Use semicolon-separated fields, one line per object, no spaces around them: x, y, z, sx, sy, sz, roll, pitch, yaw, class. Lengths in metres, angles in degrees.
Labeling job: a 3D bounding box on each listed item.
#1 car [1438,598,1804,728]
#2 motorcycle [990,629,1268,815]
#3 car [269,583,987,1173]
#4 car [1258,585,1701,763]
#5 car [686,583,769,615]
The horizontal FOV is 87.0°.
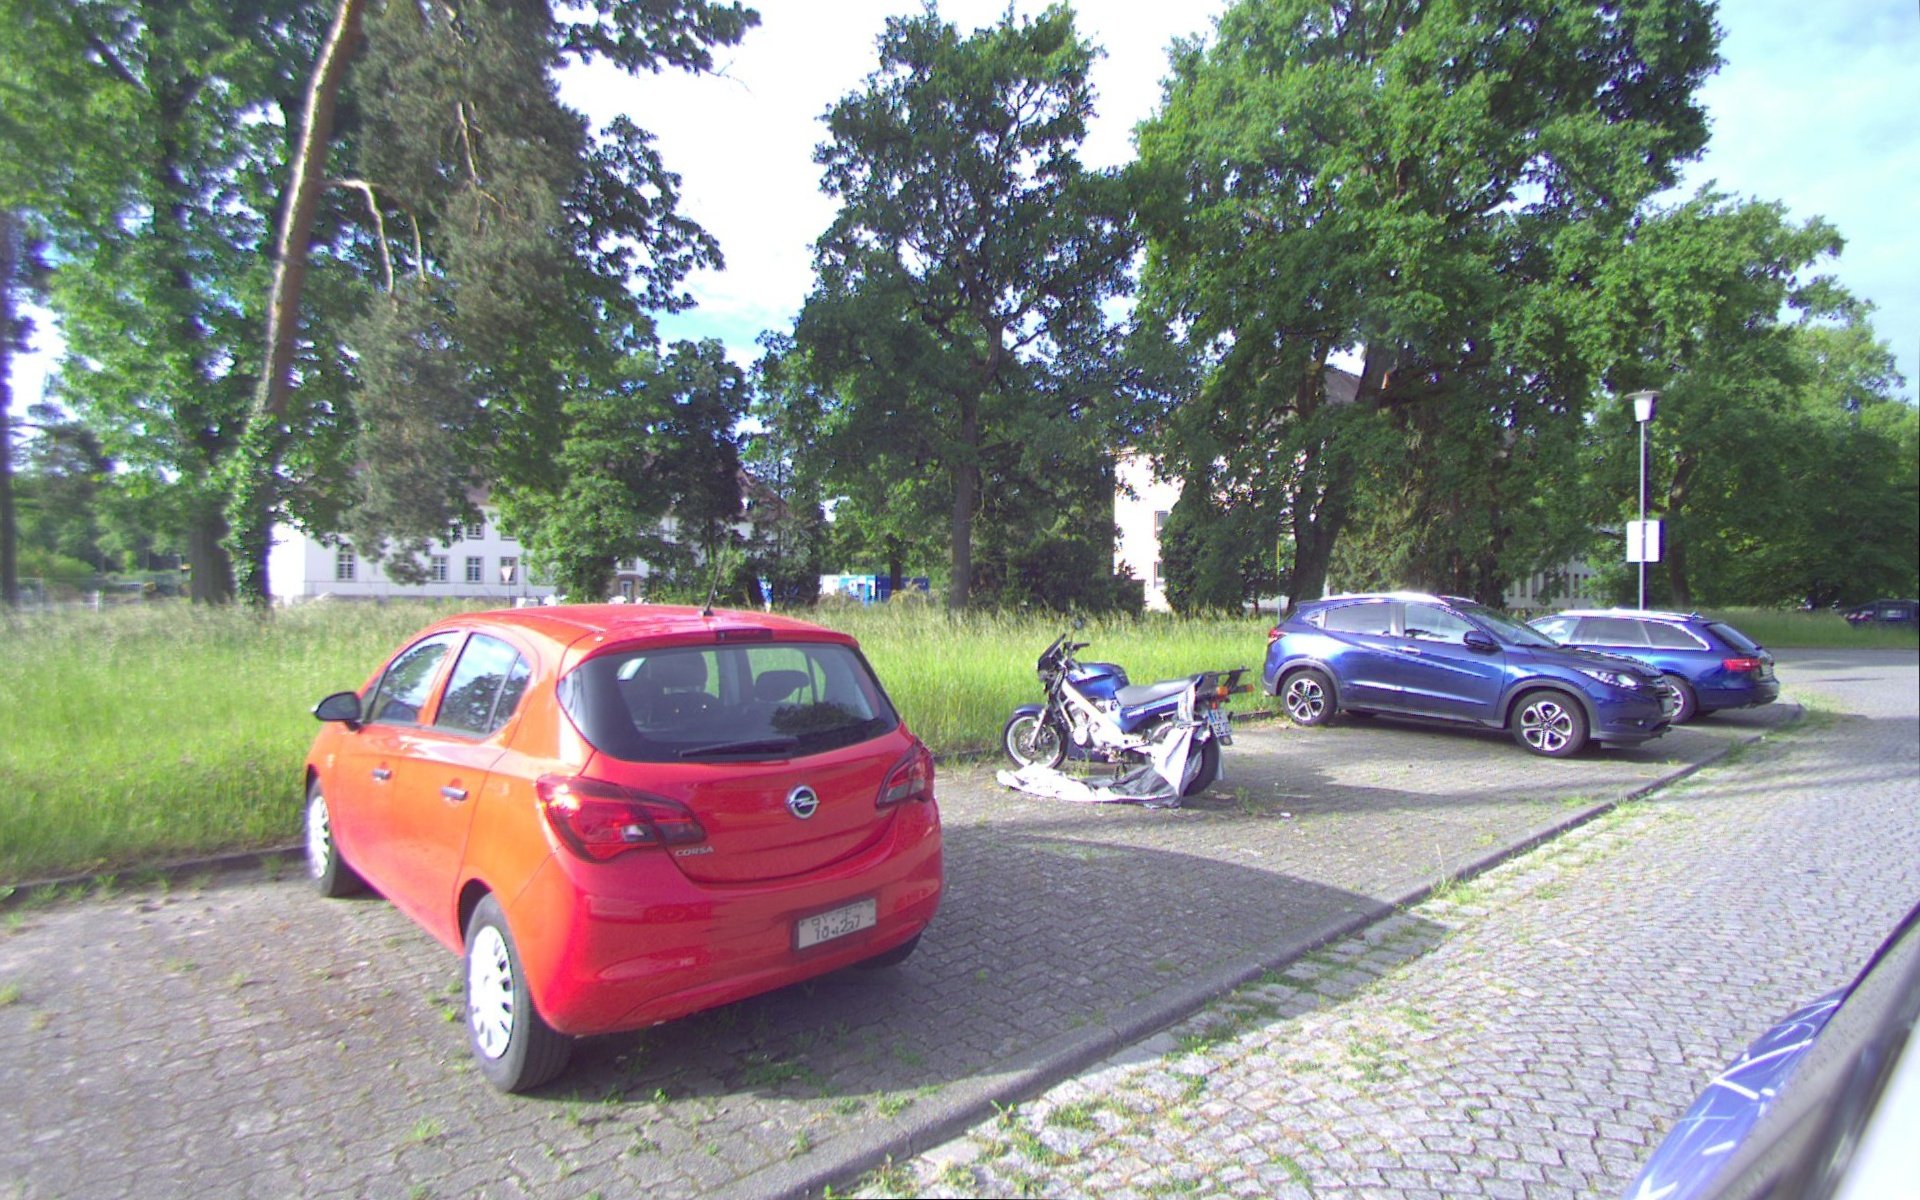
9.226;0.762;14.387;1.752;1.468;4.034;-1;2;-40;car
1.233;0.861;7.936;0.596;1.127;2.306;0;2;-40;motorcycle
-1.828;0.701;4.652;1.659;1.491;3.881;-1;2;-43;car
5.669;0.652;11.436;1.717;1.588;4.130;-1;2;-43;car
-17.563;-0.109;76.689;5.856;2.328;2.166;0;0;-41;car
